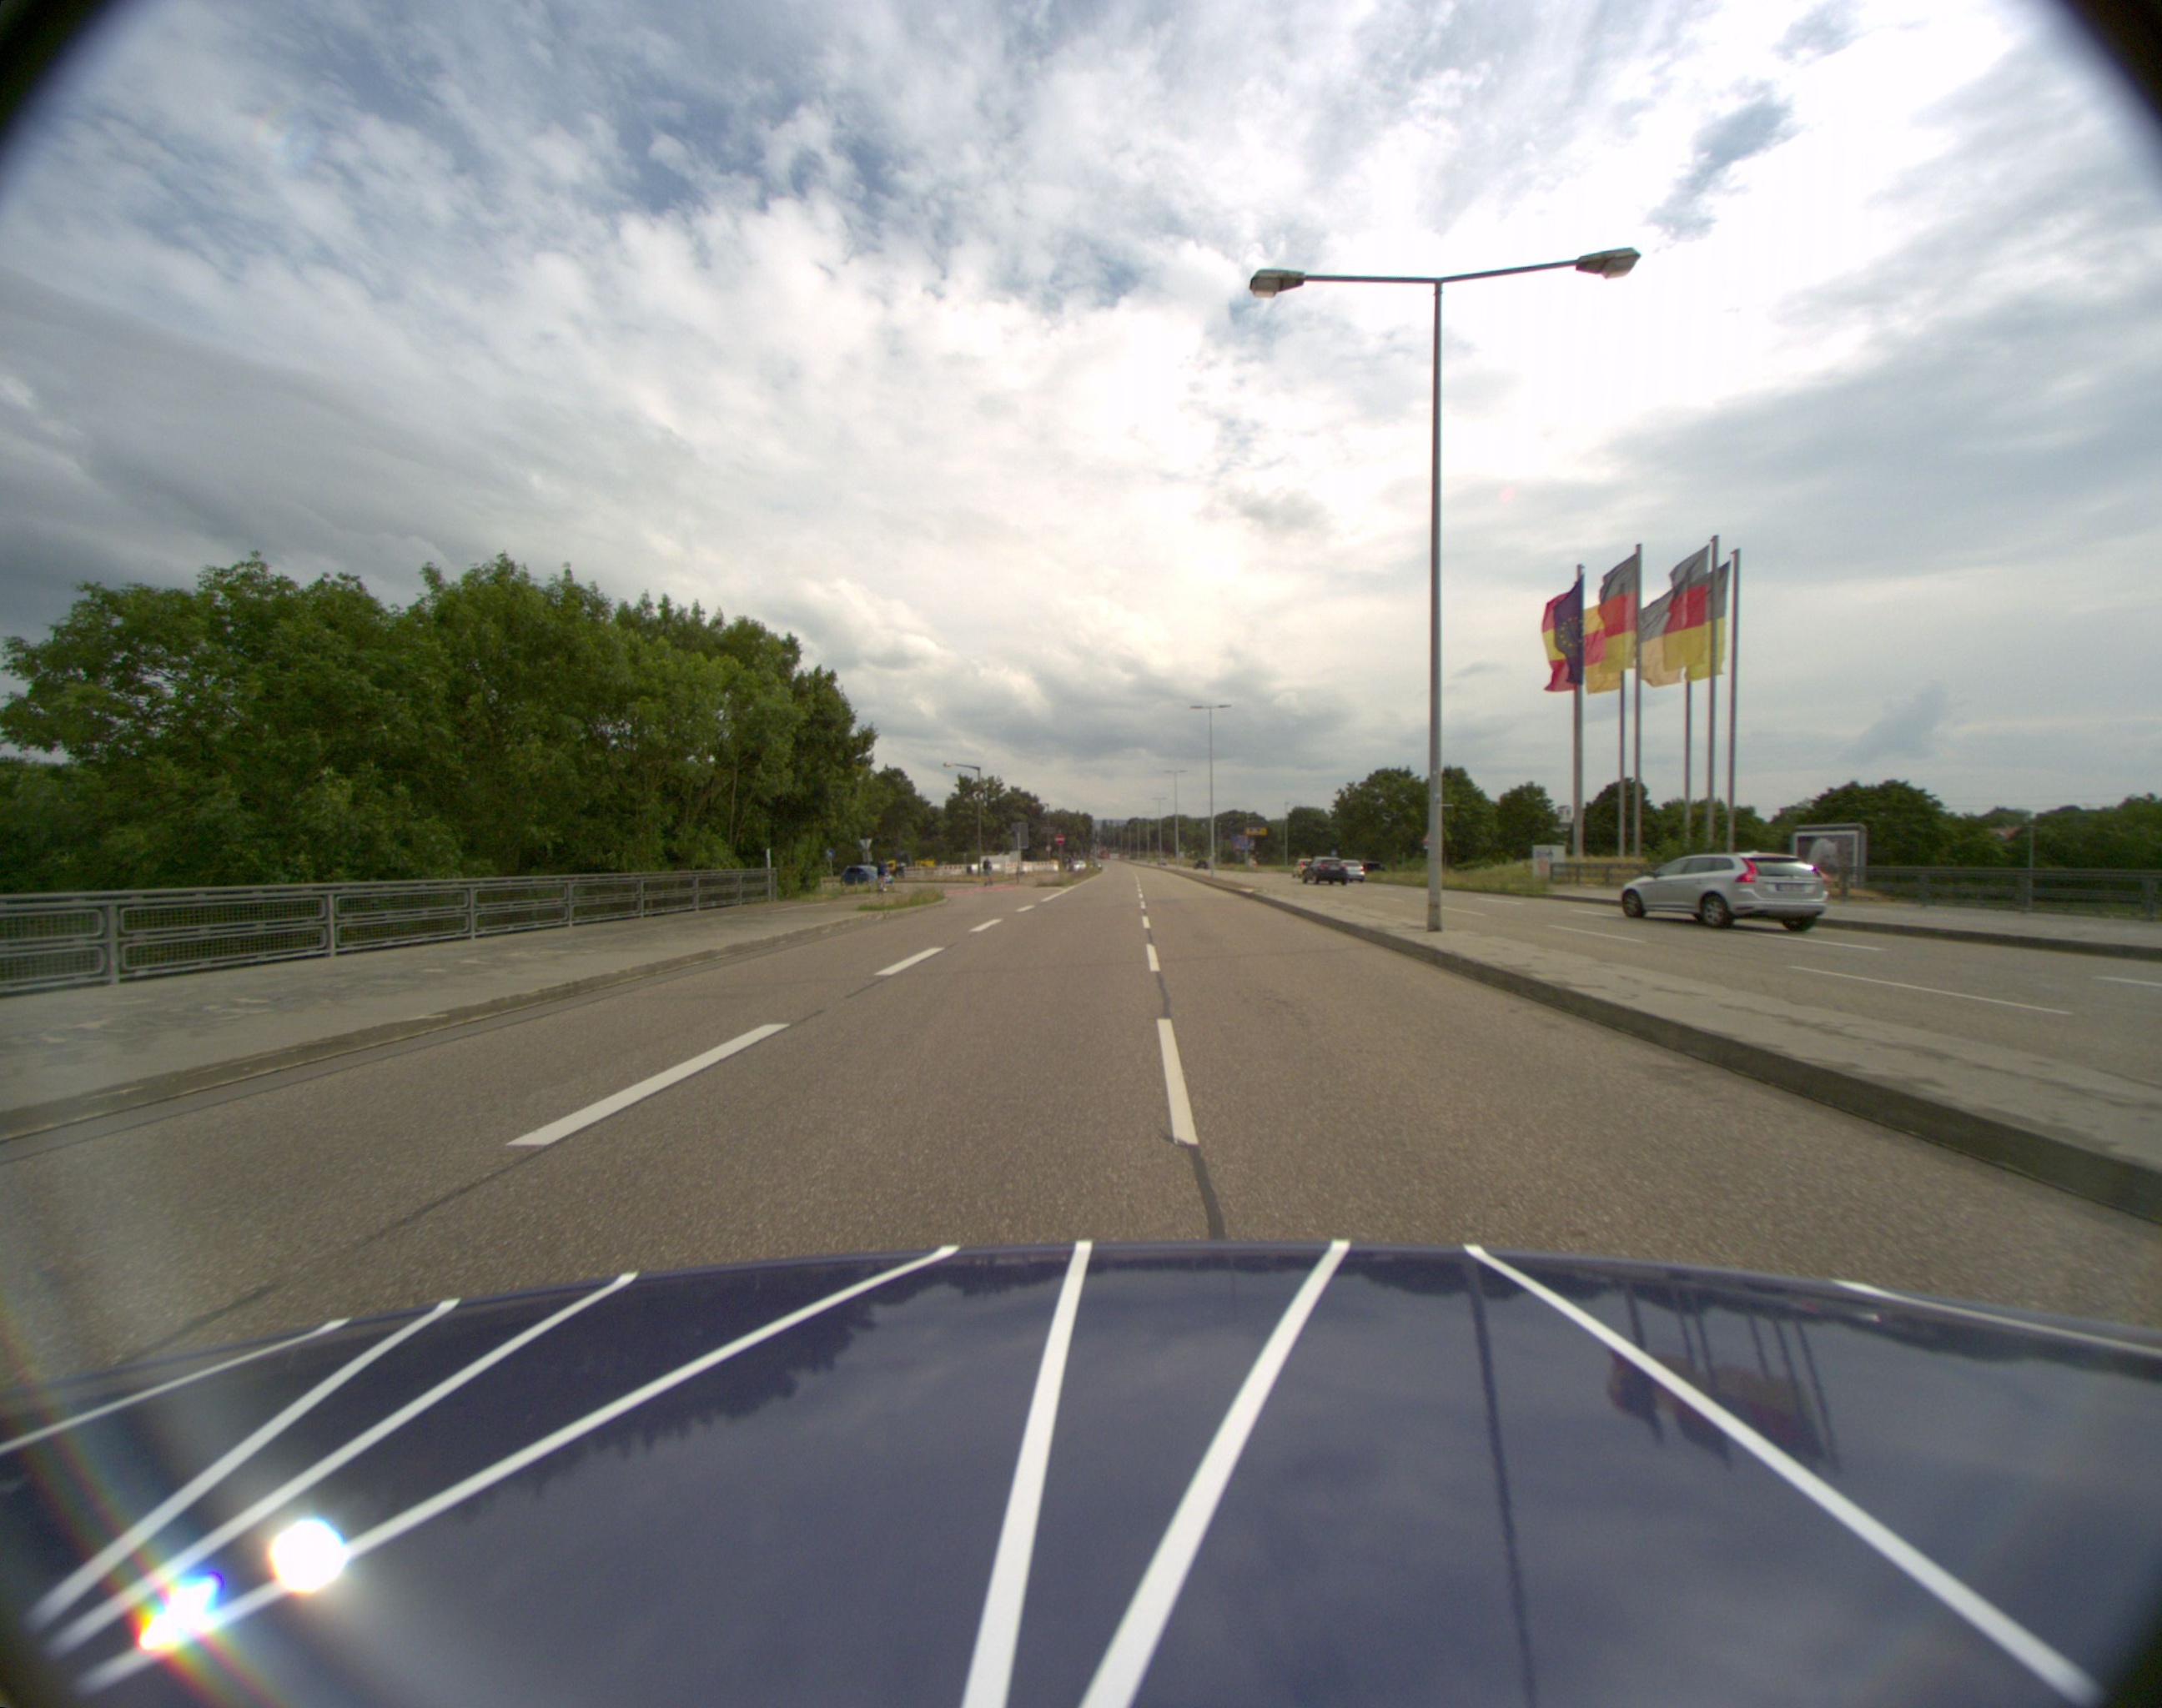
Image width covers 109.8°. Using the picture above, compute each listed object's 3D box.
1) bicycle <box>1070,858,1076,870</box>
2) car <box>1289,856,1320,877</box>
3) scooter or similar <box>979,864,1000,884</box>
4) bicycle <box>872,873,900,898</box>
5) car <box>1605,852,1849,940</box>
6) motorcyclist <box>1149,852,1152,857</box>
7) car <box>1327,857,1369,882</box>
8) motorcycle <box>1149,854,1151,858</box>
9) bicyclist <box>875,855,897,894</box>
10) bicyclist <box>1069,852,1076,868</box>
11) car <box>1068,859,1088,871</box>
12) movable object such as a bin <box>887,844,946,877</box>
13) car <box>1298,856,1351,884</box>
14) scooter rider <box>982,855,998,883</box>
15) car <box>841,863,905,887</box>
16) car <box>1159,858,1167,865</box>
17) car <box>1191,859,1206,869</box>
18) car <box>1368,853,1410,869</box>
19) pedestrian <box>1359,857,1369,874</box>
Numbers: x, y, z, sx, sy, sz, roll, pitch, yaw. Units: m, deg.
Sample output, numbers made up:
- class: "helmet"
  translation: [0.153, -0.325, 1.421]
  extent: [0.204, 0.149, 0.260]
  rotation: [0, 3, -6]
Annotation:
- class: "bicycle"
  translation: [-0.852, 1.036, 78.433]
  extent: [0.575, 1.141, 1.982]
  rotation: [1, -1, 1]
- class: "car"
  translation: [18.062, 1.006, 61.602]
  extent: [1.552, 1.568, 3.691]
  rotation: [1, 0, 3]
- class: "scooter or similar"
  translation: [-5.612, 1.237, 46.754]
  extent: [0.588, 1.217, 1.205]
  rotation: [-1, 1, 34]
- class: "bicycle"
  translation: [-8.469, 1.384, 33.104]
  extent: [0.578, 1.015, 1.977]
  rotation: [2, -2, 3]
- class: "car"
  translation: [14.698, 0.841, 17.747]
  extent: [1.867, 1.715, 4.772]
  rotation: [1, 0, 5]
- class: "motorcyclist"
  translation: [19.987, 0.184, 218.184]
  extent: [0.772, 1.579, 0.896]
  rotation: [1, 0, 2]
- class: "car"
  translation: [17.702, 1.012, 50.615]
  extent: [1.653, 1.506, 4.018]
  rotation: [1, 0, 5]
- class: "motorcycle"
  translation: [19.905, 0.577, 218.185]
  extent: [0.524, 0.961, 2.220]
  rotation: [0, 0, 2]
- class: "bicyclist"
  translation: [-8.487, 0.898, 33.102]
  extent: [0.666, 1.649, 0.806]
  rotation: [-2, -2, 3]
- class: "bicyclist"
  translation: [-0.843, 0.655, 78.572]
  extent: [0.653, 1.648, 0.876]
  rotation: [-2, 1, 1]
- class: "car"
  translation: [-0.369, 1.411, 100.435]
  extent: [1.850, 1.493, 4.003]
  rotation: [-3, 0, 10]
- class: "movable object such as a bin"
  translation: [-14.298, 0.571, 66.318]
  extent: [4.510, 2.673, 2.103]
  rotation: [-2, 1, 8]
- class: "car"
  translation: [13.948, 0.879, 43.706]
  extent: [1.743, 1.507, 4.316]
  rotation: [1, 0, 2]
- class: "scooter rider"
  translation: [-5.609, 0.904, 46.768]
  extent: [0.587, 1.680, 0.745]
  rotation: [-1, 1, 34]
- class: "car"
  translation: [-14.204, 1.446, 51.778]
  extent: [3.989, 1.509, 1.883]
  rotation: [-1, 0, 30]
- class: "car"
  translation: [19.691, 1.785, 182.694]
  extent: [1.851, 1.591, 4.562]
  rotation: [0, 0, 3]
- class: "car"
  translation: [17.225, 1.436, 111.094]
  extent: [1.767, 1.432, 4.178]
  rotation: [1, 0, 4]
- class: "car"
  translation: [39.980, 0.916, 98.582]
  extent: [5.513, 1.882, 1.849]
  rotation: [2, 0, -27]
- class: "pedestrian"
  translation: [28.288, 1.155, 75.889]
  extent: [0.866, 1.683, 0.680]
  rotation: [1, 0, 28]
